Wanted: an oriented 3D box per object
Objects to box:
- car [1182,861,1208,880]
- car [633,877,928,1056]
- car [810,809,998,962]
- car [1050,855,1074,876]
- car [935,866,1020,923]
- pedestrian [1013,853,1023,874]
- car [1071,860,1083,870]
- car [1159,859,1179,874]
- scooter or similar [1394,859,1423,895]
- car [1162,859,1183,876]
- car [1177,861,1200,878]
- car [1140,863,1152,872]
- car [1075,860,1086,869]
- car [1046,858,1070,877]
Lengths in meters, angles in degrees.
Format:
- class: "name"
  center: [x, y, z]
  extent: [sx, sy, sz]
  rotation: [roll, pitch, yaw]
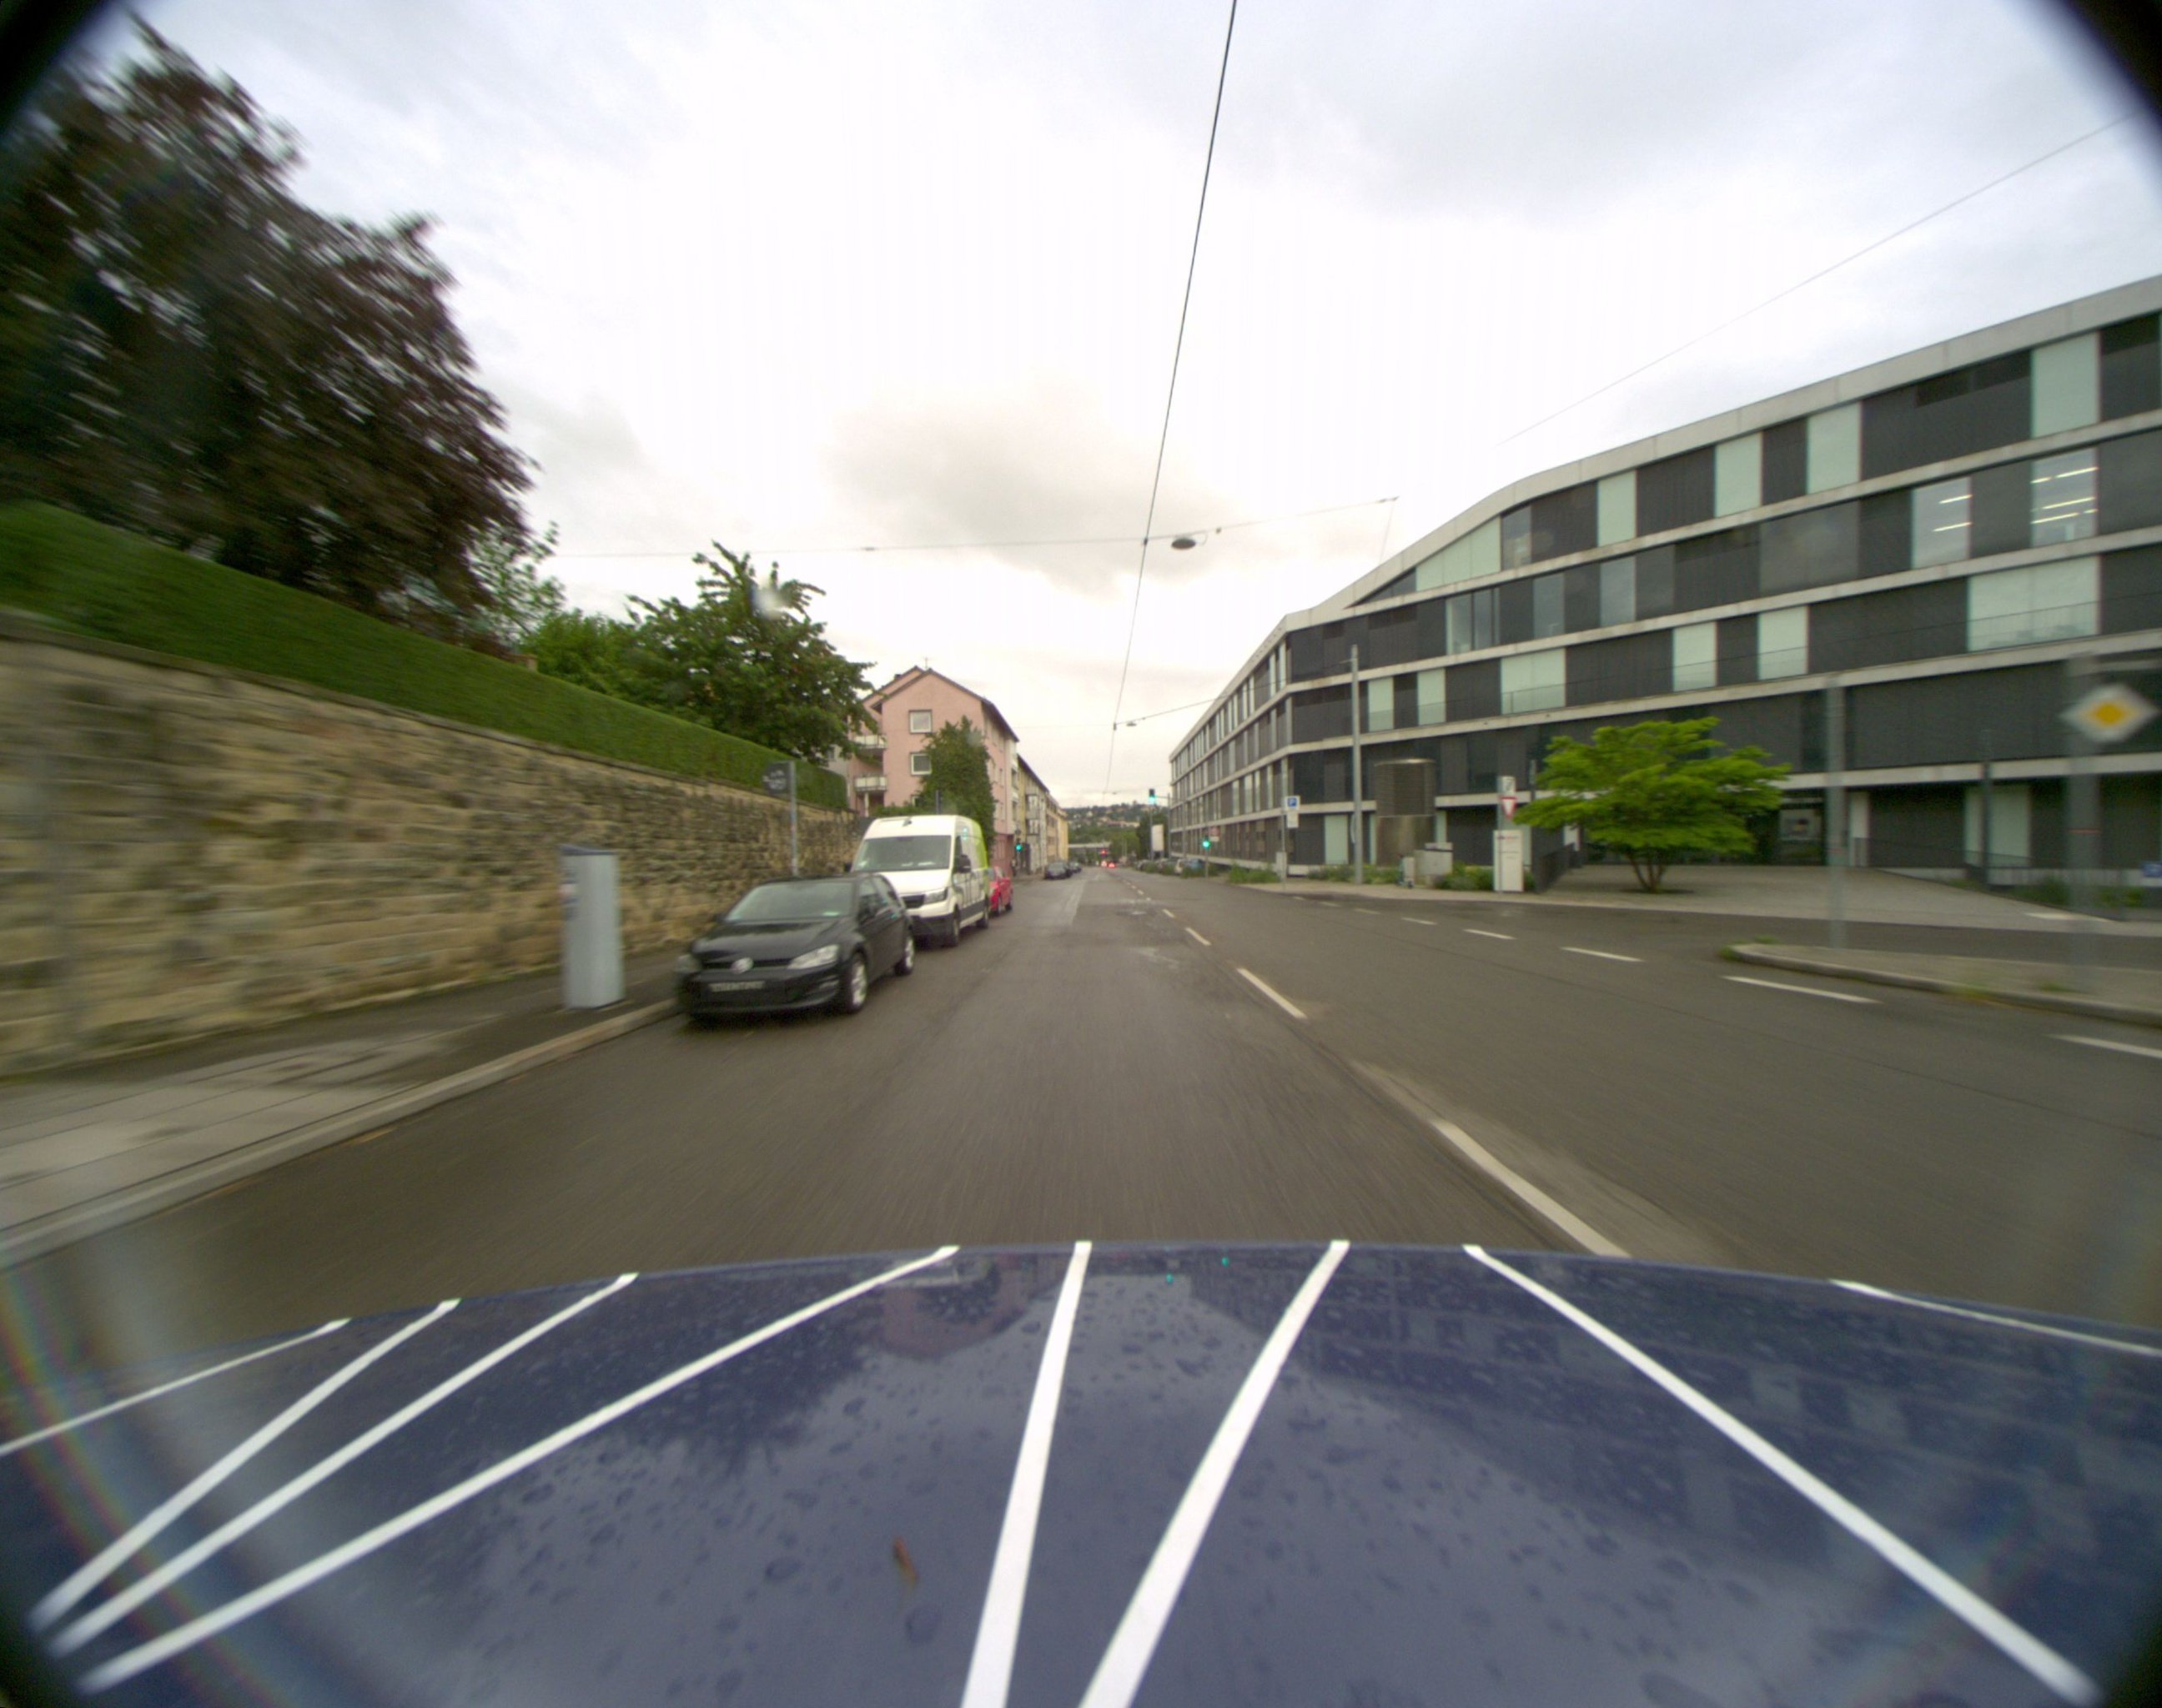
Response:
- class: "car"
  center: [9.544, 1.358, 63.734]
  extent: [1.641, 1.458, 3.584]
  rotation: [-1, -1, 0]
- class: "car"
  center: [-3.128, 1.074, 8.954]
  extent: [1.693, 1.445, 4.235]
  rotation: [-3, 0, 1]
- class: "car"
  center: [-3.294, 0.557, 15.739]
  extent: [2.211, 2.449, 6.080]
  rotation: [-3, 0, 1]
- class: "car"
  center: [-1.795, 1.072, 71.894]
  extent: [1.968, 1.763, 4.513]
  rotation: [3, -1, 1]
- class: "car"
  center: [-2.974, 1.125, 22.575]
  extent: [1.725, 1.412, 4.204]
  rotation: [-3, 0, 2]
- class: "pedestrian"
  center: [-5.504, 0.832, 66.208]
  extent: [0.715, 1.763, 0.748]
  rotation: [1, 0, 1]
- class: "car"
  center: [-0.543, 1.603, 113.611]
  extent: [1.630, 1.402, 3.779]
  rotation: [-2, -1, 2]
- class: "car"
  center: [9.887, 1.427, 85.845]
  extent: [1.834, 1.580, 4.364]
  rotation: [-3, -1, 1]
- class: "scooter or similar"
  center: [11.778, 0.823, 27.363]
  extent: [0.497, 1.241, 1.232]
  rotation: [-2, 0, 2]
- class: "car"
  center: [9.541, 1.414, 79.442]
  extent: [1.886, 1.580, 4.364]
  rotation: [-3, -1, 3]
- class: "car"
  center: [9.696, 1.373, 68.579]
  extent: [1.641, 1.458, 3.585]
  rotation: [-1, -1, 2]
- class: "car"
  center: [10.838, 2.238, 126.526]
  extent: [1.642, 1.576, 4.042]
  rotation: [-2, -1, 1]
- class: "car"
  center: [-0.115, 1.961, 142.873]
  extent: [1.798, 1.501, 4.001]
  rotation: [-2, -1, 2]
- class: "car"
  center: [-2.005, 1.171, 66.546]
  extent: [1.796, 1.510, 4.513]
  rotation: [-1, -1, 1]
